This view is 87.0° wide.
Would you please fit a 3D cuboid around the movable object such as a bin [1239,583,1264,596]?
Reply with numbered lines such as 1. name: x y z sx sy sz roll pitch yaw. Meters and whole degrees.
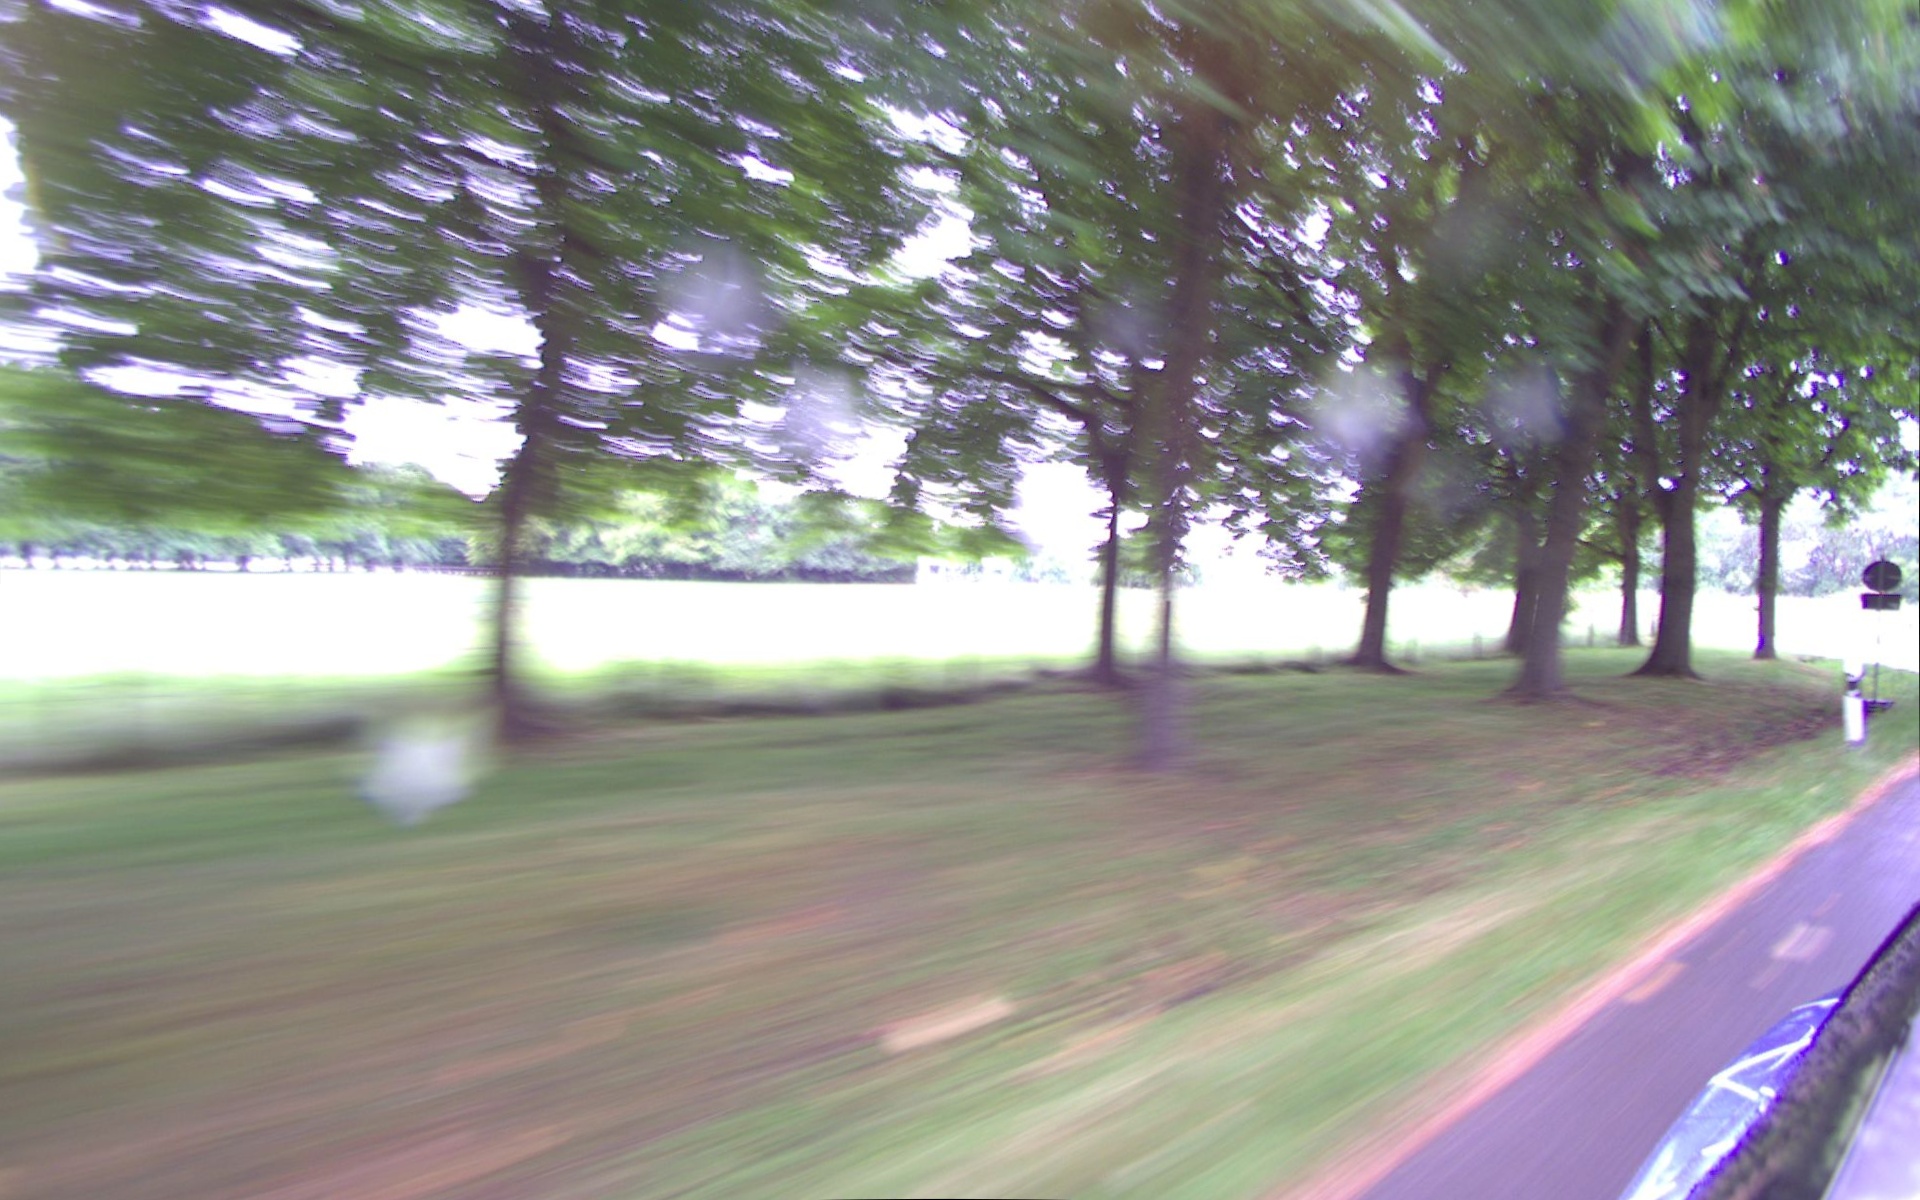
1. movable object such as a bin: 37.162 -1.329 129.131 1.650 1.590 3.544 1 1 -8
